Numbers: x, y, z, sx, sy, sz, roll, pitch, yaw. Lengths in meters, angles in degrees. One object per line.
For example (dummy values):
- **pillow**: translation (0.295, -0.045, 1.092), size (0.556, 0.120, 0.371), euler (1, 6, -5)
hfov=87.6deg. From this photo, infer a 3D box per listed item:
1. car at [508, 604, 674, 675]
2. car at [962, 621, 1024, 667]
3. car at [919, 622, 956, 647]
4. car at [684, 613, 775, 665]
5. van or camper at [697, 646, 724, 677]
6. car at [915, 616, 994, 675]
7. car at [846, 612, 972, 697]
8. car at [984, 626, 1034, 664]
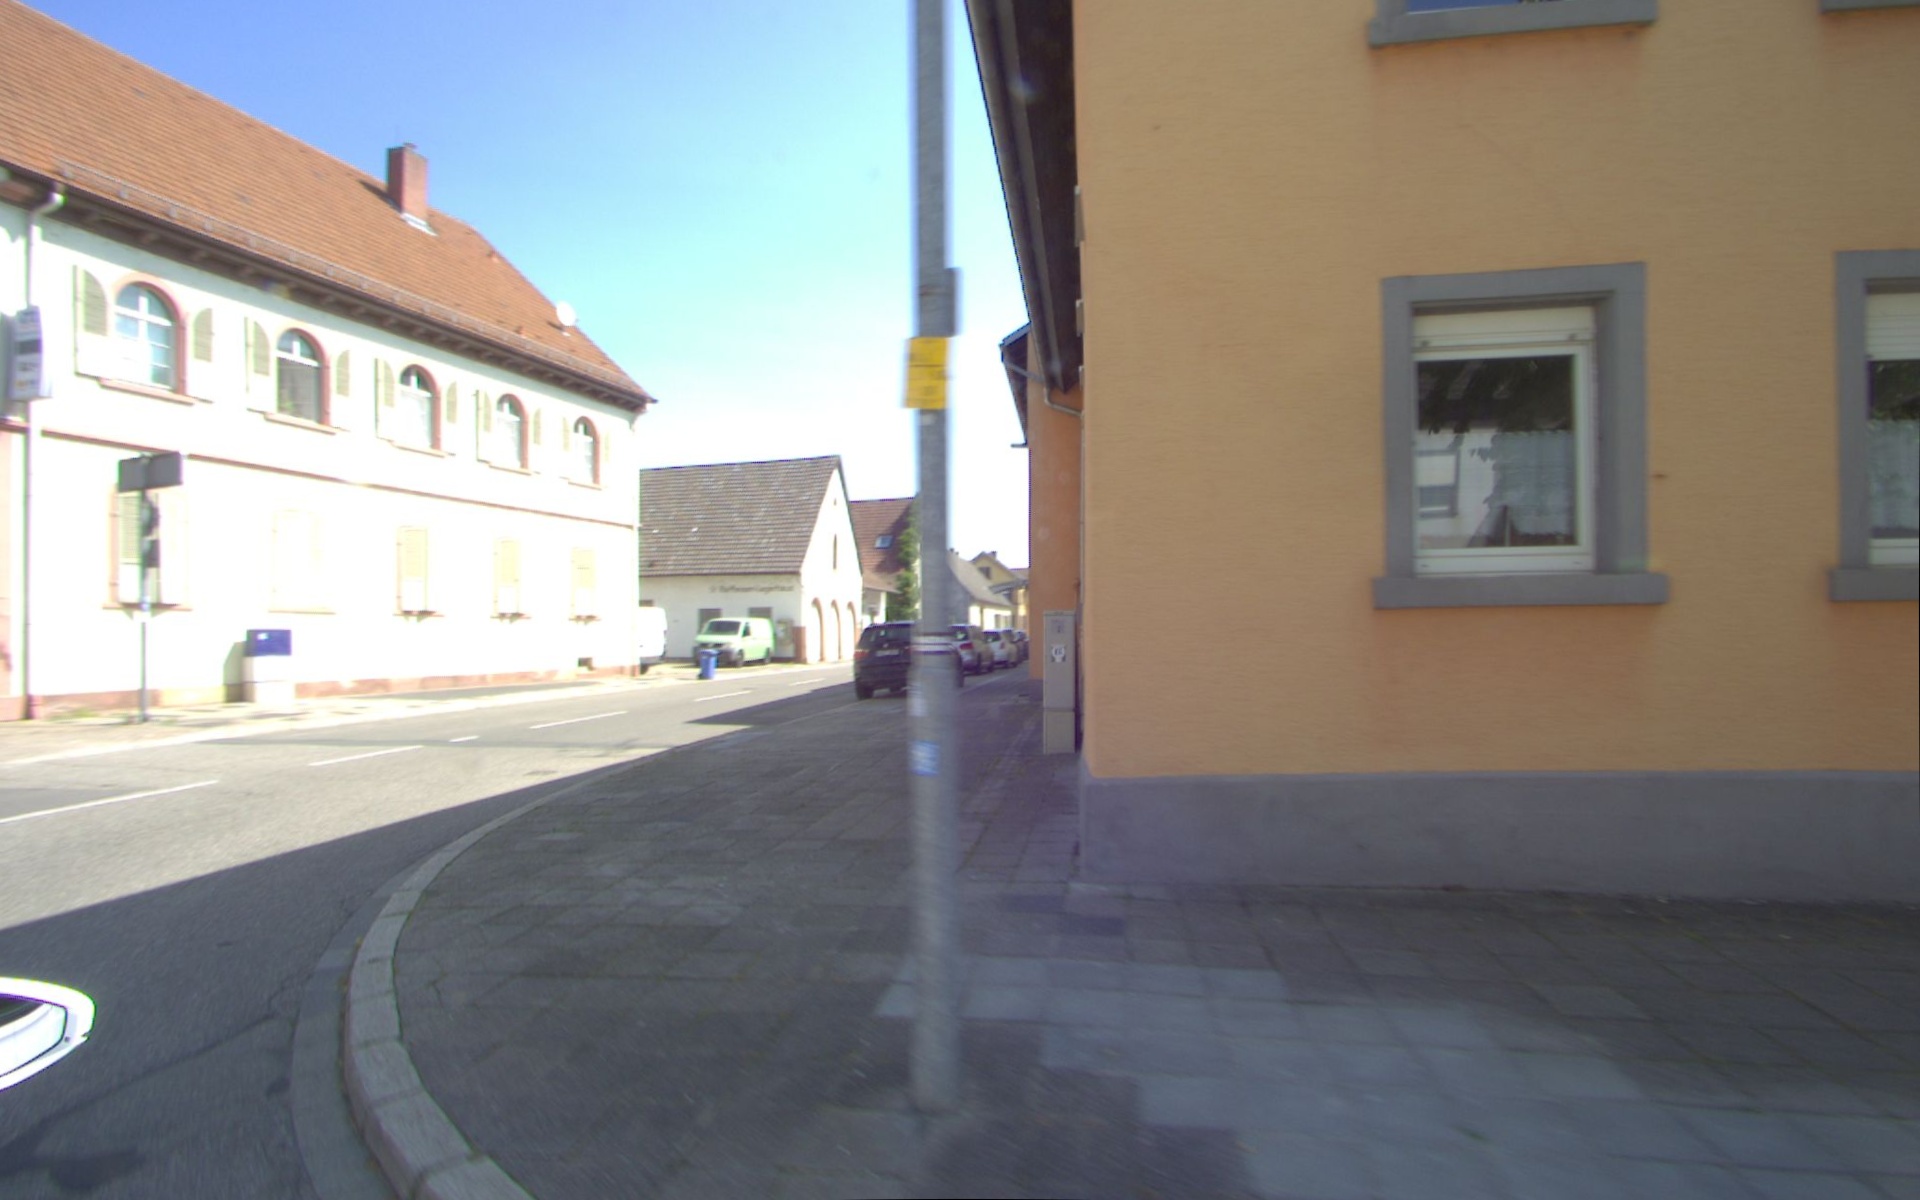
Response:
- **car**: translation (-12.404, 1.289, 33.689), size (5.101, 2.225, 2.119), euler (0, -1, 20)
- **car**: translation (1.304, 1.627, 37.943), size (1.961, 1.638, 4.000), euler (0, -2, 8)
- **car**: translation (-1.522, 2.358, 68.935), size (1.825, 1.668, 4.429), euler (0, -1, 8)
- **car**: translation (-9.336, 1.562, 40.991), size (1.962, 1.990, 4.668), euler (0, -1, 10)
- **van or camper**: translation (-7.875, 1.943, 31.619), size (0.580, 0.964, 0.599), euler (0, -1, 15)
- **car**: translation (-0.090, 1.444, 32.618), size (1.868, 1.750, 4.248), euler (0, -2, 10)
- **car**: translation (-1.047, 1.225, 23.522), size (1.815, 1.724, 5.180), euler (-2, -2, 10)
- **car**: translation (2.277, 2.013, 45.744), size (1.961, 1.638, 4.000), euler (0, -2, 8)
